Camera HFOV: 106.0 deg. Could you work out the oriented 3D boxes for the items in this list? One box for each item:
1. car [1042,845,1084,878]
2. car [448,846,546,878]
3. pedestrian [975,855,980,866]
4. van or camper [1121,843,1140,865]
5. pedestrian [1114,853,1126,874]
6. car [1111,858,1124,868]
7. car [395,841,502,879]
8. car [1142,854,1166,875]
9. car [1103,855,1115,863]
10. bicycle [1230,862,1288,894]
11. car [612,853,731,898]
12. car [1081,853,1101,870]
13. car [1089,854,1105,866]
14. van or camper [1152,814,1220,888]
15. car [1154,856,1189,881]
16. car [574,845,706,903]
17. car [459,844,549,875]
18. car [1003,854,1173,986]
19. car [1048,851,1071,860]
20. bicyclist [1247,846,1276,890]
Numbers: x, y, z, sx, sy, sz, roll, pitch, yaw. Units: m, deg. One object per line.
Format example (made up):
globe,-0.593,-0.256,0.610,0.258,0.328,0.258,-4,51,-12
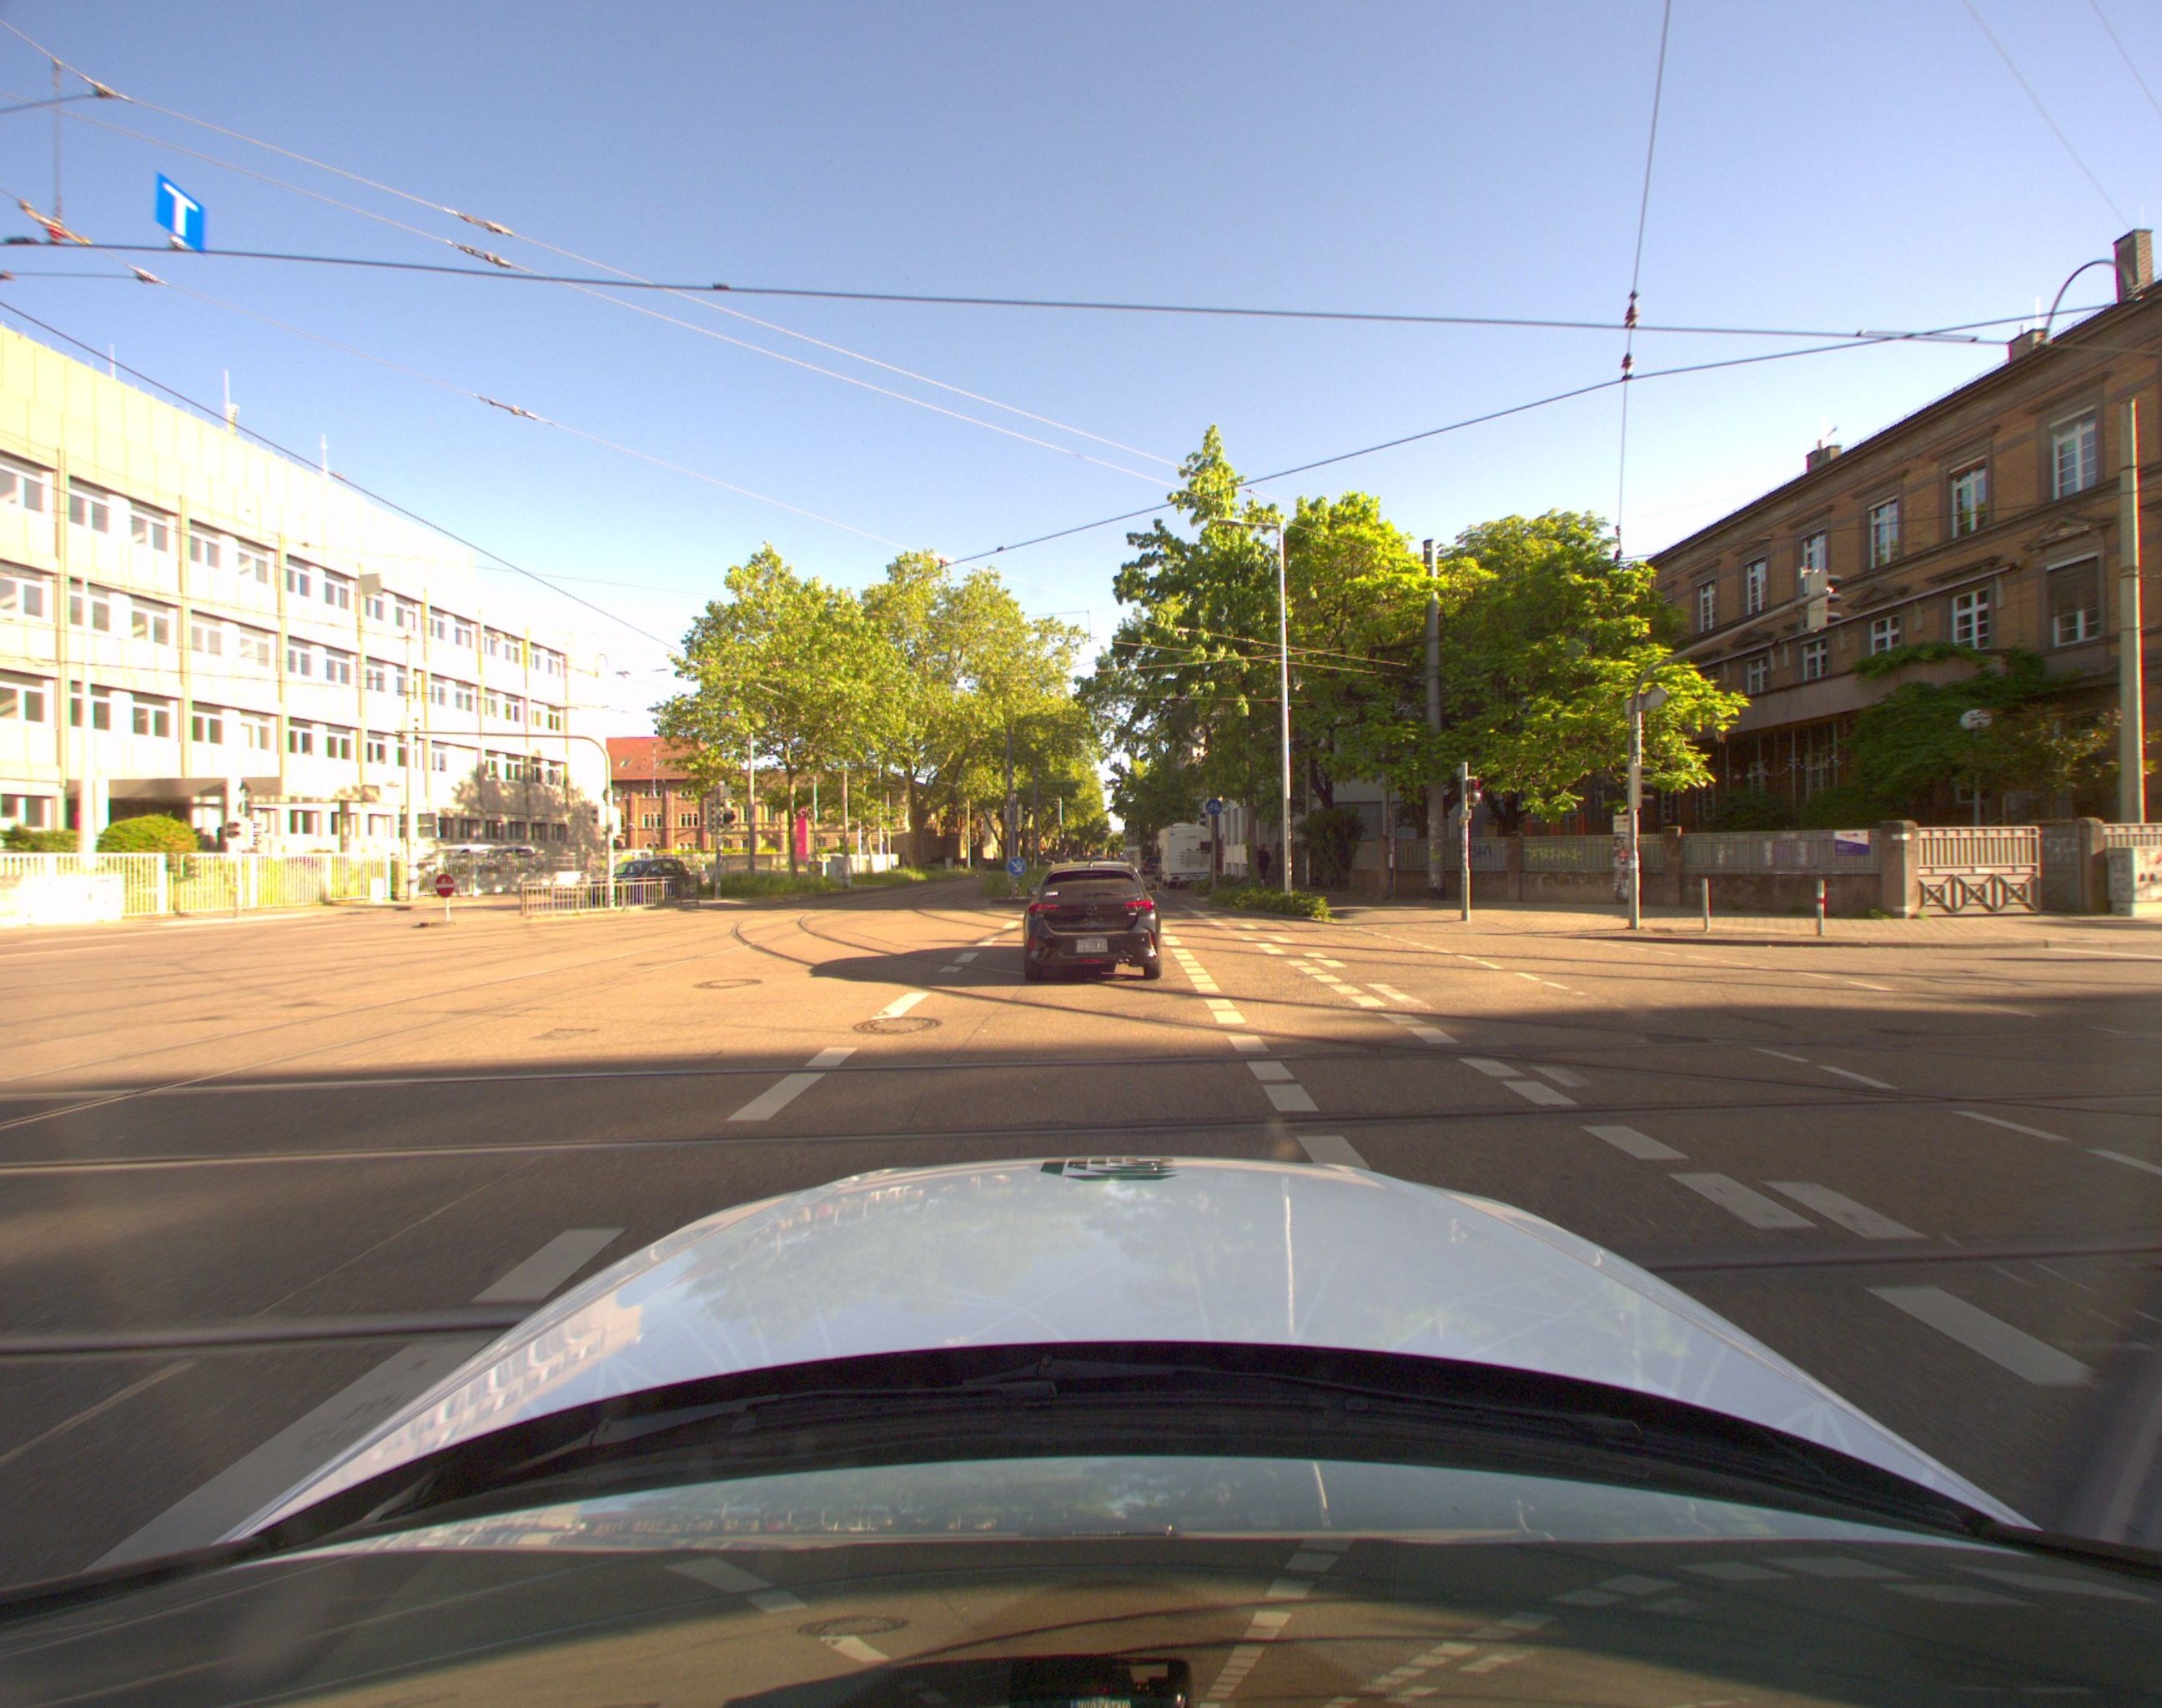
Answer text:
car,-0.913,0.354,43.878,1.986,1.627,4.472,1,0,2
car,-32.954,0.401,46.146,1.983,1.703,4.387,-1,0,7
pedestrian,-15.426,0.971,121.029,0.616,1.733,0.596,1,0,1
van or camper,6.860,0.015,113.002,2.476,2.993,5.439,1,0,3
pedestrian,3.740,0.921,78.215,1.032,2.024,1.213,-1,0,1
car,5.747,1.337,127.552,1.897,1.425,4.219,-1,0,3
car,-35.931,0.297,46.449,1.983,2.013,4.735,-1,0,7
car,5.937,0.826,66.421,1.783,1.510,3.877,-2,0,3
car,5.007,0.846,144.782,1.897,1.425,4.219,-1,0,3
bicycle,6.259,0.822,28.621,1.952,1.070,0.637,-1,0,-23
car,-16.293,0.790,32.738,1.984,1.616,4.762,-1,0,5
car,1.012,0.735,80.516,1.783,1.510,3.877,-2,0,3
car,2.050,0.790,104.475,1.897,1.425,4.219,-1,0,3
van or camper,4.967,-0.153,39.665,2.367,3.125,7.553,-4,0,2
car,5.467,0.856,49.583,1.680,1.420,4.048,-1,0,0
car,-16.240,0.666,30.289,1.982,1.947,4.436,-1,1,9
car,-40.300,0.388,56.979,4.730,2.013,1.997,-1,0,-4
car,0.209,0.750,11.279,1.897,1.425,4.219,-1,0,3
car,-5.427,0.494,209.569,5.665,2.197,2.290,-1,0,2
bicyclist,6.343,0.482,28.664,0.702,1.510,0.746,-1,0,-22
